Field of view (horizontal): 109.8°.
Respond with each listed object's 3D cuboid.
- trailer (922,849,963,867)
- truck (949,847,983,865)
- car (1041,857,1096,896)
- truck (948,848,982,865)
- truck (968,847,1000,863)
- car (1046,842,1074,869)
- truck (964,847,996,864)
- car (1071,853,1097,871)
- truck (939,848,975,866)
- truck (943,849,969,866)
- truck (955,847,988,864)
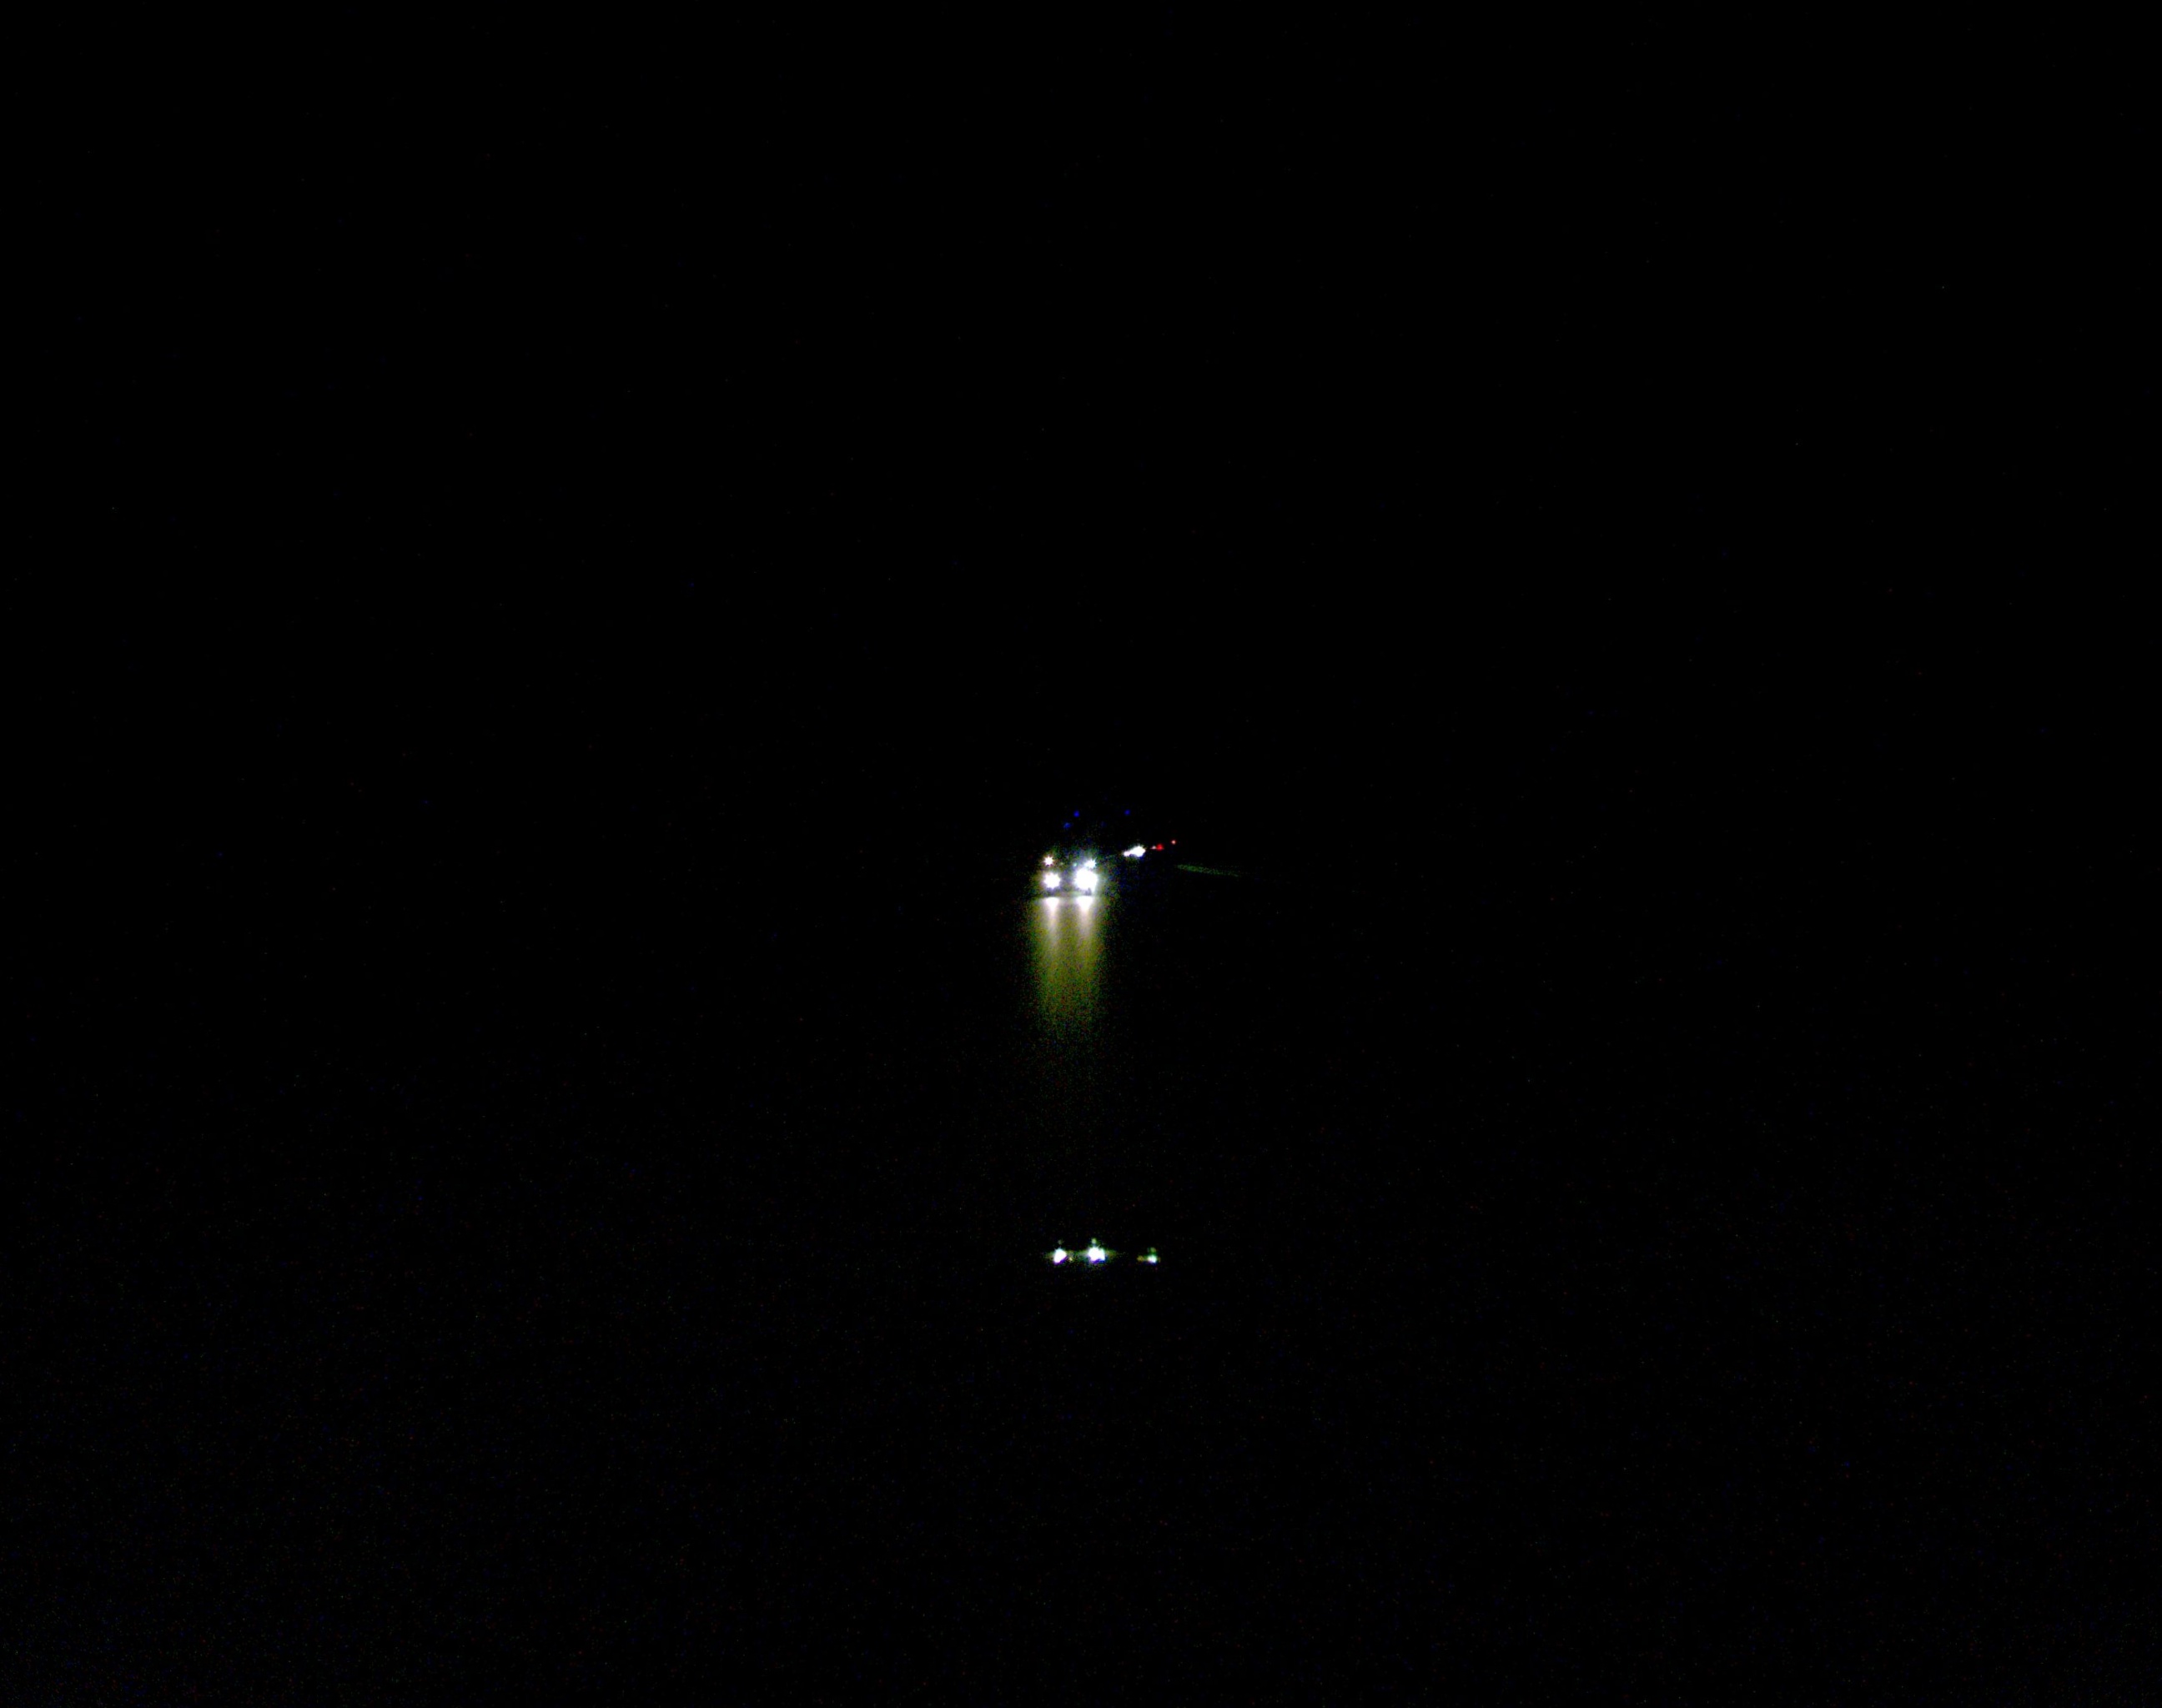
[{"bbox_3d":[-32.242,0.934,176.504,2.547,3.644,12.963,-4,1,-42],"label":"trailer"},{"bbox_3d":[-28.718,0.576,189.444,3.065,3.902,9.637,-4,1,-44],"label":"truck"},{"bbox_3d":[-0.440,0.870,31.291,1.832,1.404,4.001,-3,0,5],"label":"car"},{"bbox_3d":[-28.048,0.725,183.334,3.065,3.667,9.637,-4,1,-44],"label":"truck"},{"bbox_3d":[-25.899,0.264,202.471,3.065,3.902,9.637,-4,1,-44],"label":"truck"},{"bbox_3d":[-2.370,0.120,88.111,2.533,2.888,6.229,-3,0,5],"label":"car"},{"bbox_3d":[-26.461,0.344,198.272,2.965,3.902,9.637,-4,1,-44],"label":"truck"},{"bbox_3d":[0.308,0.703,67.516,1.998,1.455,4.001,-3,0,5],"label":"car"},{"bbox_3d":[-29.262,0.728,178.850,3.065,3.902,9.637,-4,1,-44],"label":"truck"},{"bbox_3d":[-28.352,0.800,172.207,2.537,3.628,6.194,-4,1,-42],"label":"truck"},{"bbox_3d":[-28.189,0.483,194.915,3.065,3.902,9.637,-4,1,-44],"label":"truck"}]
